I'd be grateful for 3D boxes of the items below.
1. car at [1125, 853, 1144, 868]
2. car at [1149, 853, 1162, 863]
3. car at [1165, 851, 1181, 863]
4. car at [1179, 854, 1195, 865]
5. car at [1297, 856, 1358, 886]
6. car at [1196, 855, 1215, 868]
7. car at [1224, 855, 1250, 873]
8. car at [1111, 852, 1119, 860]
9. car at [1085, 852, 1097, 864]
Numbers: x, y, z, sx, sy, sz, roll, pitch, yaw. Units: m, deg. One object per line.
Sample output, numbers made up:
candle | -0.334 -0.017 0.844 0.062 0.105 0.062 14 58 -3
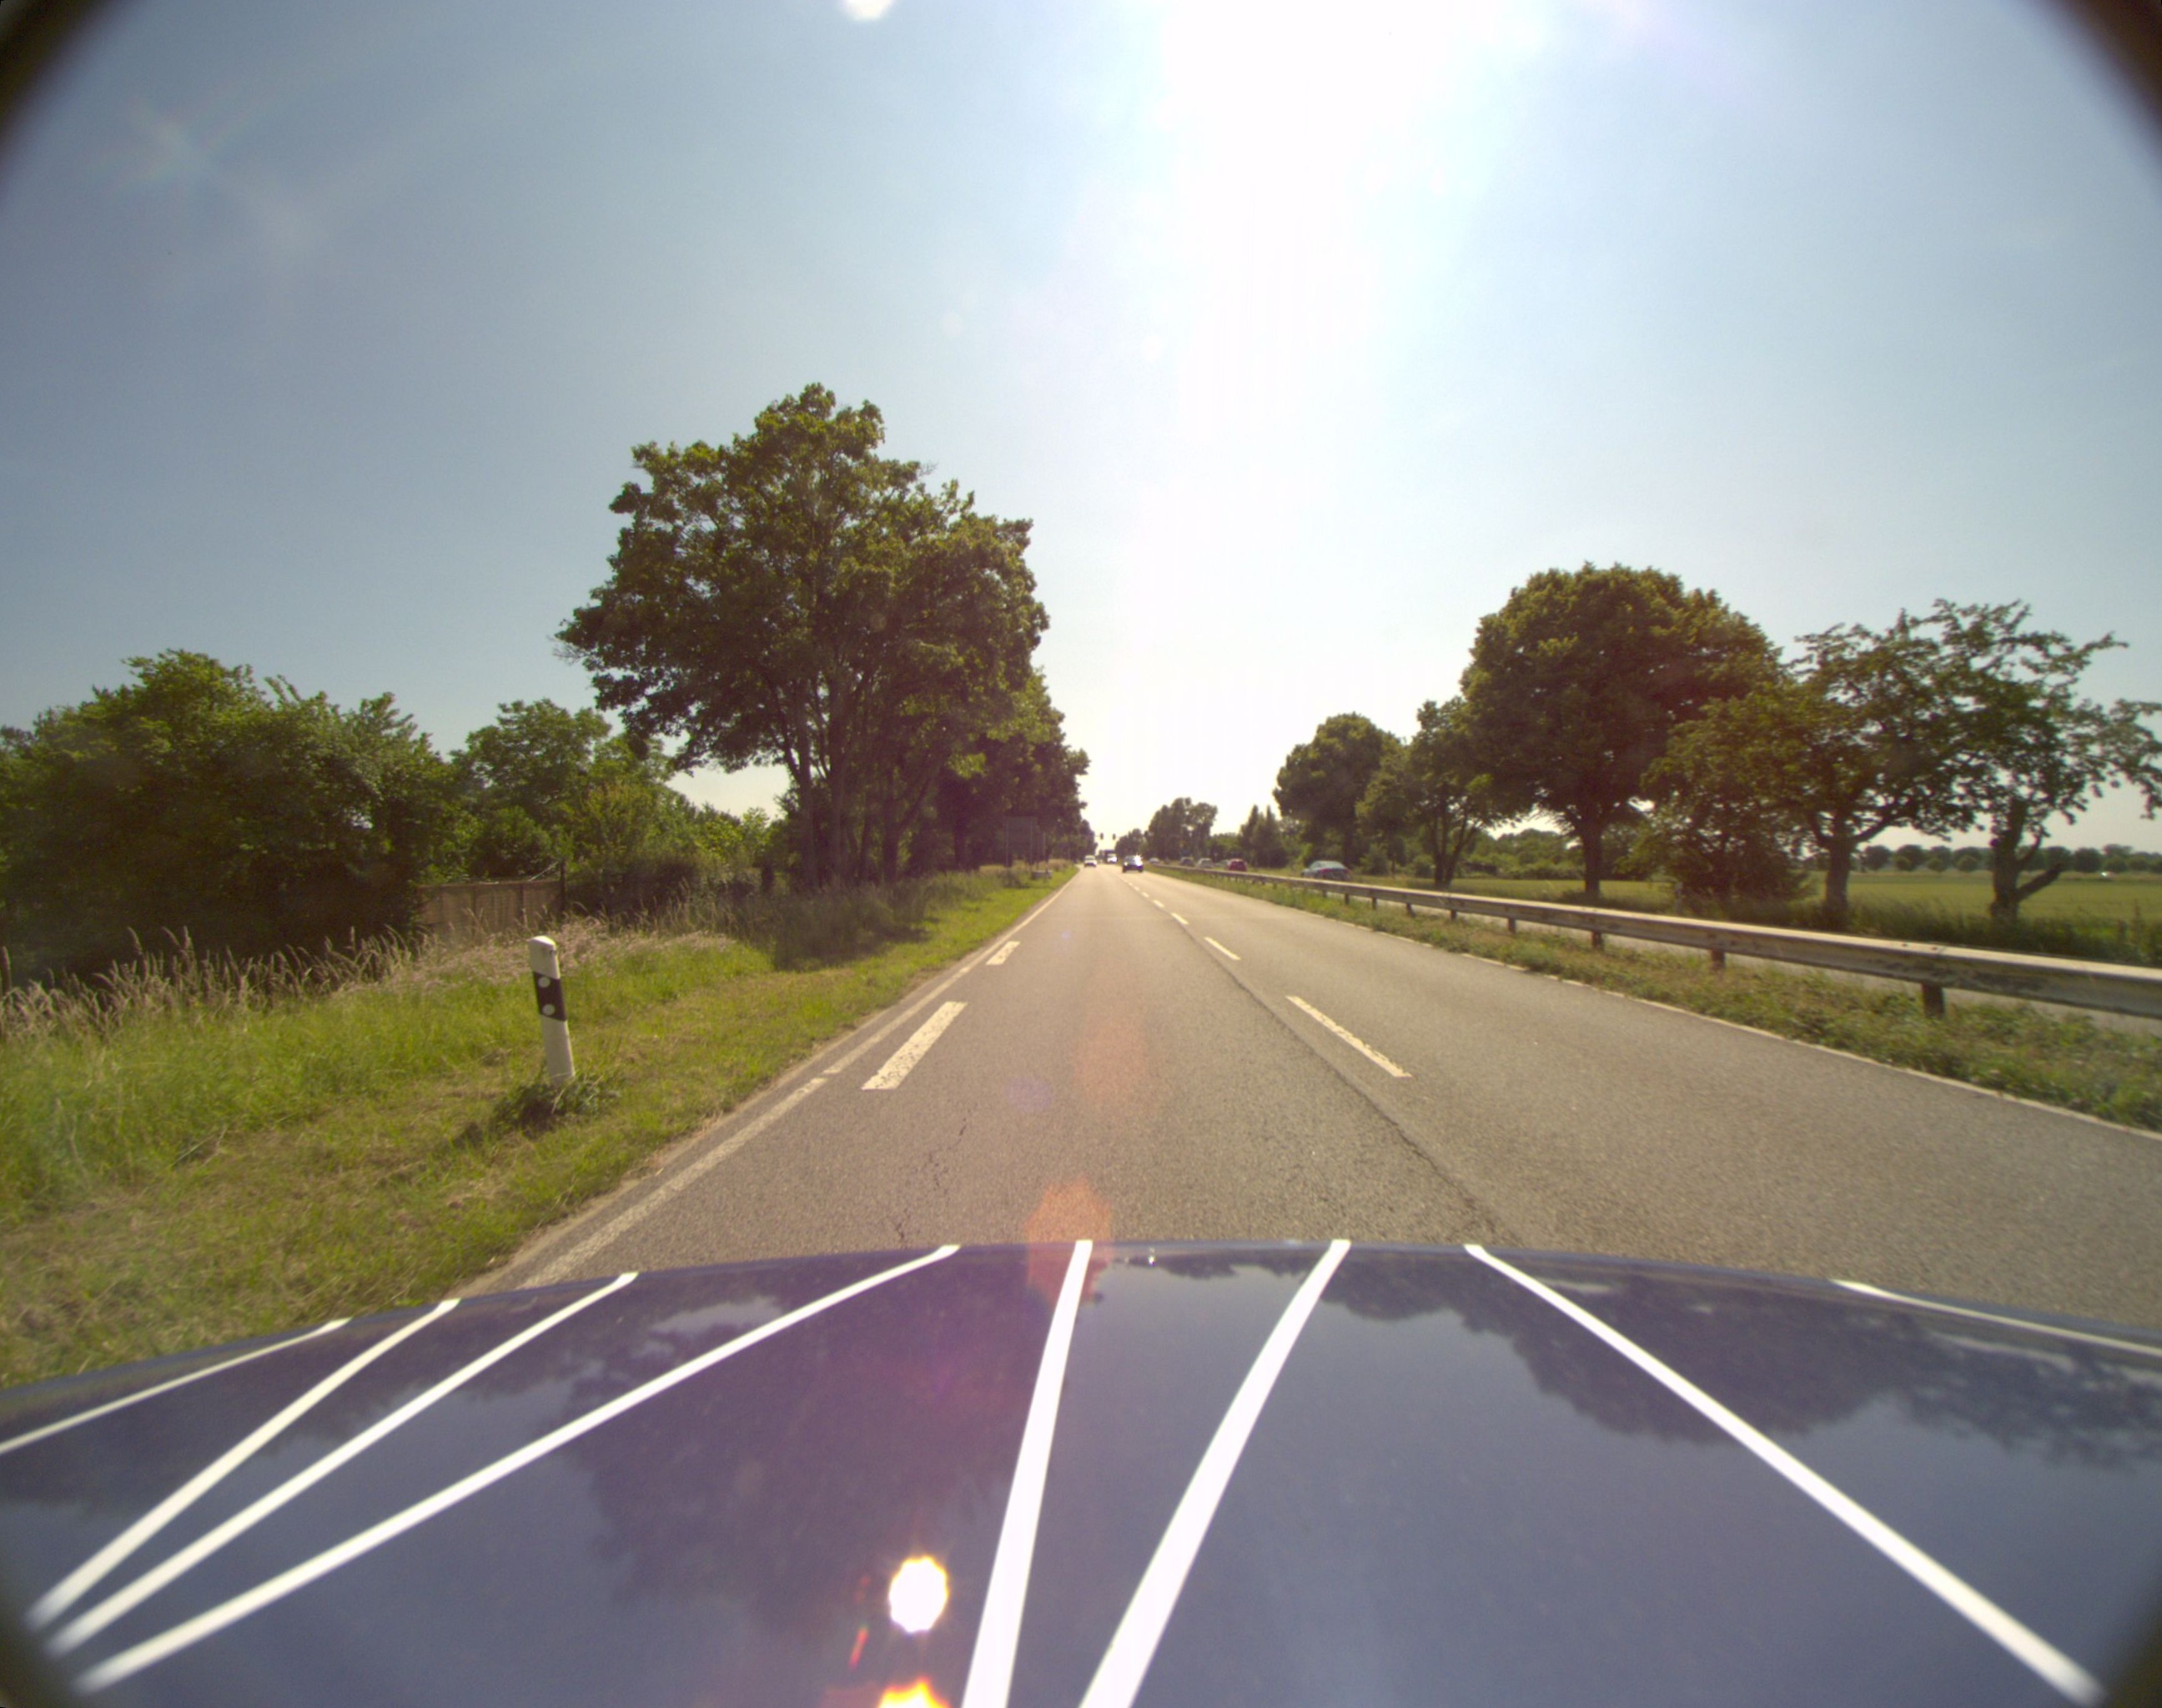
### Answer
car | 5.319 0.634 75.776 1.860 1.507 4.100 0 0 3
car | 12.712 0.706 130.123 1.765 1.581 3.750 1 0 0
car | 12.232 0.356 101.424 1.765 1.581 3.750 0 0 0
car | 15.544 0.799 111.614 1.765 1.581 3.894 1 0 0
car | 14.287 0.957 44.342 1.960 1.581 4.865 1 0 0
car | 15.607 0.871 95.294 1.765 1.581 3.894 1 0 0
car | 15.086 0.941 73.576 1.765 1.581 3.894 1 0 0
car | 7.834 0.515 174.859 1.886 1.775 4.000 1 0 1
car | 1.511 0.613 118.042 1.777 1.863 4.580 0 0 -1
